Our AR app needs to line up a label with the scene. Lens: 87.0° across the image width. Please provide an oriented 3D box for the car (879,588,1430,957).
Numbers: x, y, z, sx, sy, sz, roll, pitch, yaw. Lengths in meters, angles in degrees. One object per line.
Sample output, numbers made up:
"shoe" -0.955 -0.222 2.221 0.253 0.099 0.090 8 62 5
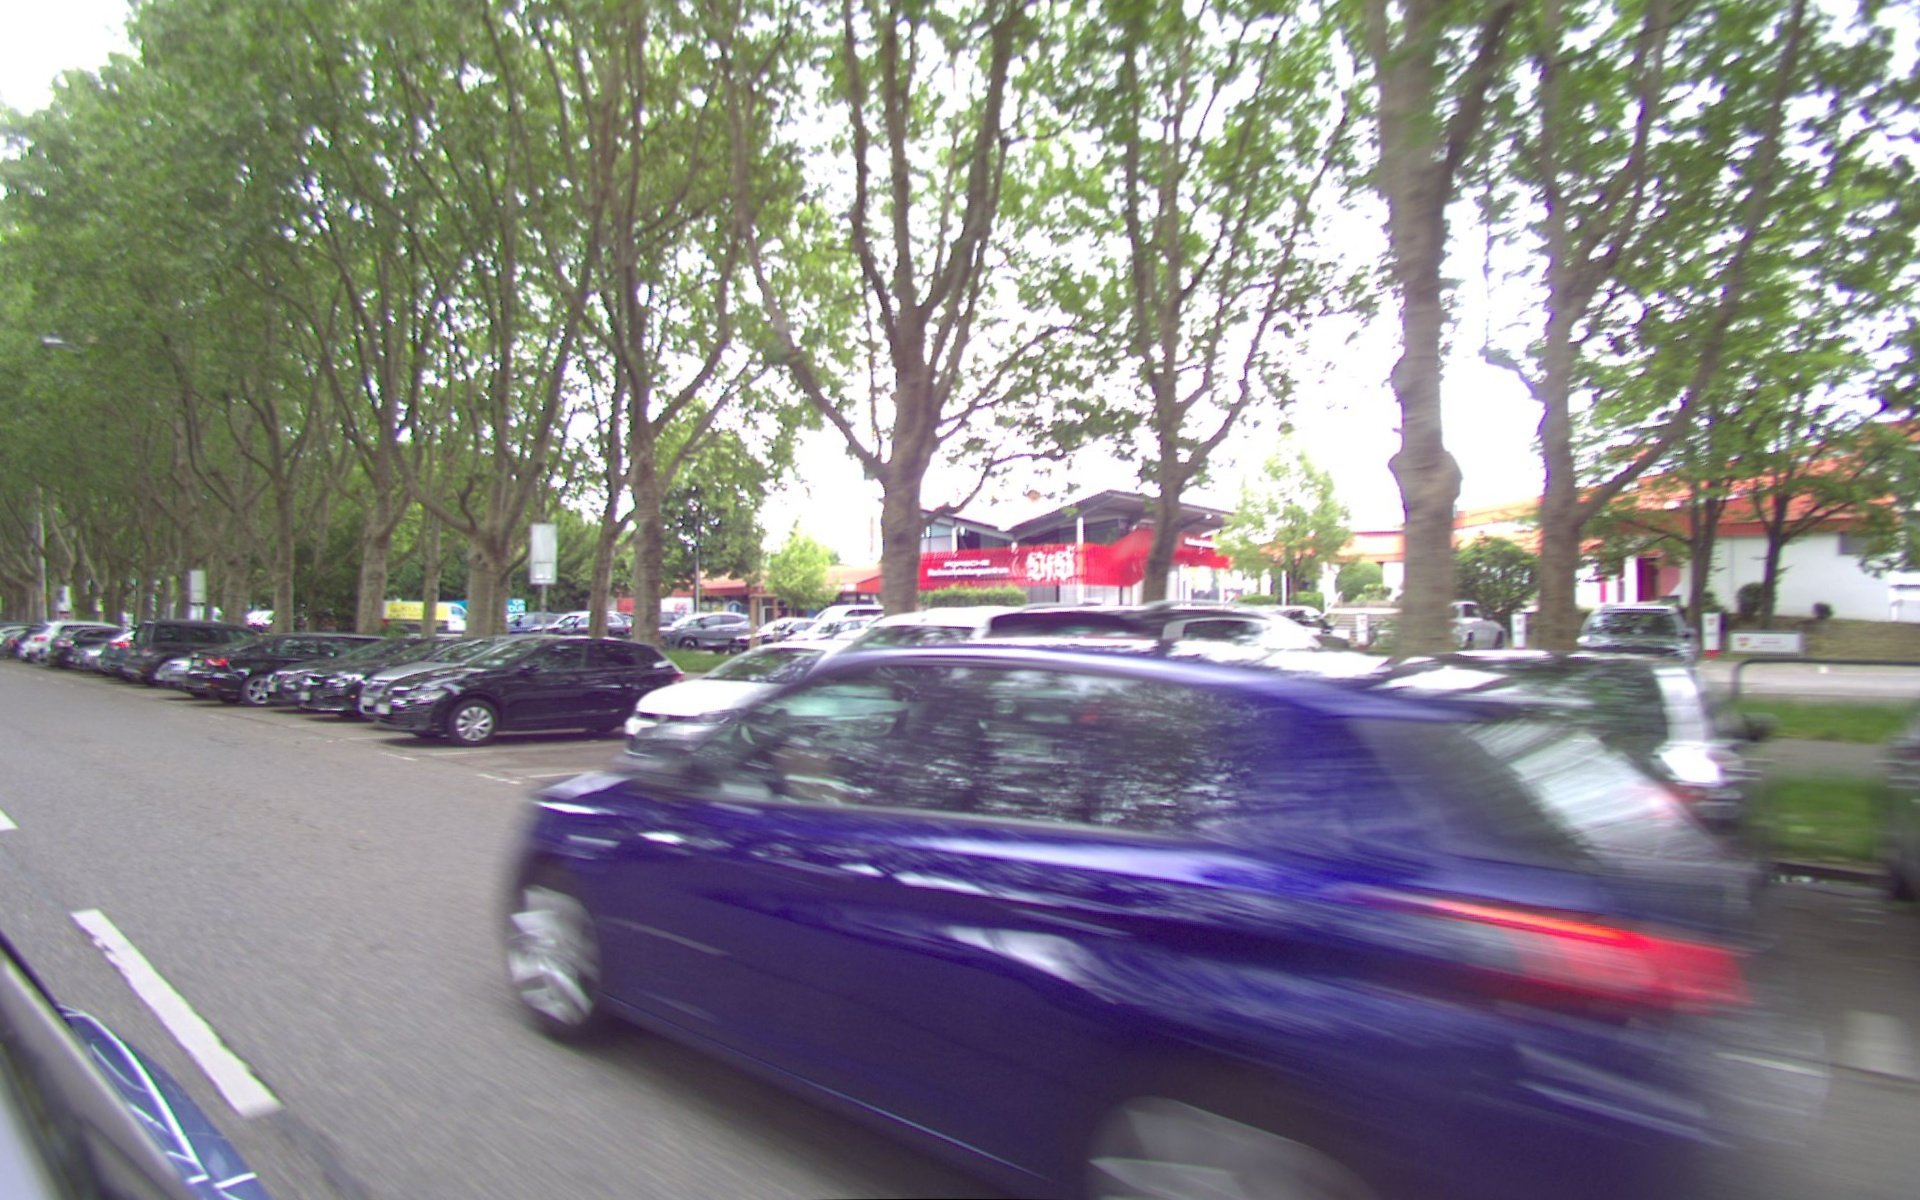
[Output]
"car" 1.651 0.858 7.267 2.036 1.808 4.272 -1 -1 41

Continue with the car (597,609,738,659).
"car" -11.140 1.270 38.827 2.180 1.810 4.893 -2 -2 38

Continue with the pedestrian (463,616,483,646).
"pedestrian" -29.798 1.876 61.934 0.917 1.814 0.808 -1 -1 41

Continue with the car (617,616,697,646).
"car" -17.216 1.726 57.645 1.996 1.638 3.951 -1 -1 36

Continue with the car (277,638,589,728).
"car" -8.993 1.364 17.573 1.901 1.358 4.415 -2 -4 42

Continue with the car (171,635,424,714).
"car" -13.150 1.439 20.269 1.701 1.409 3.891 -2 -3 39

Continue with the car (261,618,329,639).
"car" -68.349 2.868 104.038 2.391 2.036 5.399 -1 -1 38

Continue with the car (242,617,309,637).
"car" -72.820 2.902 107.710 2.391 2.036 5.399 -1 -3 38

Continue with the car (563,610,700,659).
"car" -13.138 1.327 40.746 2.180 1.810 4.894 -1 -1 38

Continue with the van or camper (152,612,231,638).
"van or camper" -67.956 2.179 89.541 2.242 2.115 5.234 -1 -1 38

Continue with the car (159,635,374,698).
"car" -16.553 1.555 24.311 1.825 1.375 3.891 -2 -3 39

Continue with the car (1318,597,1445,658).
"car" 14.017 0.857 33.531 4.525 1.869 2.298 0 -1 -44

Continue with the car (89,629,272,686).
"car" -22.271 1.634 29.013 3.947 1.497 1.704 3 -4 -45

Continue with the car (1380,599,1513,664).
"car" 15.059 0.909 31.228 4.525 1.869 2.298 0 -1 -44

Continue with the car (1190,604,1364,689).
"car" 7.423 0.980 23.422 2.295 1.738 4.506 -1 -1 40

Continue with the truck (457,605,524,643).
"truck" -35.192 1.780 75.889 2.375 2.737 3.947 -1 -1 40

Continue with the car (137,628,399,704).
"car" -14.972 1.410 22.123 1.701 1.493 4.418 -2 -3 39

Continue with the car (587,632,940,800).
"car" -1.938 1.135 11.079 1.758 1.483 3.755 -1 -3 30

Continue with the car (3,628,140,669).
"car" -35.645 1.918 40.672 1.855 1.464 3.944 -1 -1 42

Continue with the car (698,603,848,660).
"car" -6.344 1.034 34.887 2.180 1.810 4.894 -1 -1 38

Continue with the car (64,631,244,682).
"car" -24.264 1.701 30.588 1.701 1.431 3.953 -2 -3 39

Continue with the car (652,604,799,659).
"car" -8.327 1.058 36.311 2.180 1.810 4.894 -1 -1 38

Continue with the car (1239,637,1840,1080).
"car" 3.426 1.003 5.582 2.013 1.463 4.084 -2 -5 43

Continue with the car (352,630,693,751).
"car" -5.928 1.192 14.042 1.756 1.432 3.933 -2 -4 44

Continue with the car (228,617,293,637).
"car" -76.249 2.954 110.327 2.391 2.036 5.399 -1 -1 38

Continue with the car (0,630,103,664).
"car" -41.376 2.092 45.185 2.043 1.455 4.369 -1 -3 35

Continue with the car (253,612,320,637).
"car" -70.402 2.540 105.787 2.391 2.536 5.399 -1 -1 38

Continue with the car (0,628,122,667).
"car" -37.479 1.941 42.004 1.855 1.464 3.944 -1 -1 42

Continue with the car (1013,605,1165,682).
"car" 3.502 1.078 26.928 2.027 1.875 4.277 -1 -1 40

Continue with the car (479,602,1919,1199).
"car" 0.330 0.786 3.177 4.011 1.521 1.824 -1 -1 40

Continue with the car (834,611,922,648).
"car" -3.798 1.332 47.506 1.997 1.637 3.950 -1 -1 37

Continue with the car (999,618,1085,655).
"car" 3.347 1.423 40.714 1.505 1.382 3.948 -1 -1 39

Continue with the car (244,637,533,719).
"car" -10.788 1.457 19.397 1.858 1.377 4.418 -2 -4 39

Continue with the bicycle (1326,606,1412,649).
"bicycle" 15.467 1.021 38.328 2.800 1.551 1.038 -1 -1 41

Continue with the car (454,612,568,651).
"car" -21.274 1.539 48.069 1.998 1.734 4.508 -1 -3 39

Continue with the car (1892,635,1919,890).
"car" 5.502 0.896 4.284 1.965 1.364 4.148 -1 -1 39

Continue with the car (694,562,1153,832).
"car" -0.061 0.767 9.136 1.864 1.824 4.277 -2 -4 37

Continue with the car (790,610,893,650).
"car" -5.724 1.405 49.338 2.180 1.810 4.894 -1 -1 38

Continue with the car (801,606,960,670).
"car" -2.358 1.137 31.356 2.180 1.810 4.893 -2 -2 38

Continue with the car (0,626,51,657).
"car" -50.731 2.172 52.951 2.044 1.639 4.365 -2 -3 38

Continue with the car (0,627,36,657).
"car" -53.103 2.263 54.685 2.045 1.639 4.364 -2 -3 39

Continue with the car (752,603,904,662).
"car" -4.266 1.008 33.418 2.180 1.810 4.894 -1 -1 38

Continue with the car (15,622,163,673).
"car" -32.040 1.709 37.298 1.855 1.695 3.944 -1 -1 42

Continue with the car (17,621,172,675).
"car" -30.341 1.627 35.558 1.855 1.695 3.944 -1 -1 42

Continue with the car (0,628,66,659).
"car" -45.511 2.062 48.029 1.774 1.435 4.363 -2 -3 39

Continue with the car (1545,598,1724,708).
"car" 12.597 0.861 18.780 2.295 1.775 4.473 -1 -1 40

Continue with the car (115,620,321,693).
"car" -18.838 1.425 25.825 1.750 1.721 3.891 -2 -3 39

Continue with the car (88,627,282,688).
"car" -20.811 1.531 27.283 1.728 1.528 3.888 -2 -4 42

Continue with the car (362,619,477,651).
"car" -29.969 1.895 56.275 2.093 1.608 5.295 -1 -1 39

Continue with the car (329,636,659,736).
"car" -7.278 1.292 16.206 1.878 1.380 4.417 -2 -4 40

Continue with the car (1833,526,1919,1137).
"car" 4.844 0.763 4.149 1.866 1.824 4.272 -2 -4 41

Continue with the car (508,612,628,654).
"car" -17.116 1.478 44.389 1.998 1.734 4.508 -1 -3 39

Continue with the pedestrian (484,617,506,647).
"pedestrian" -28.737 1.977 62.541 0.917 1.814 0.932 1 0 41

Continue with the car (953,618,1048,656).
"car" 1.723 1.514 42.246 1.998 1.438 3.948 -1 -1 39

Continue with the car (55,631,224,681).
"car" -26.160 1.736 32.365 1.842 1.379 3.947 -1 -1 39

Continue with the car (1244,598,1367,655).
"car" 12.187 0.884 35.546 4.525 1.869 2.298 0 -1 -44

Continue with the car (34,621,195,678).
"car" -28.263 1.600 33.909 1.855 1.695 3.944 -1 -1 42
